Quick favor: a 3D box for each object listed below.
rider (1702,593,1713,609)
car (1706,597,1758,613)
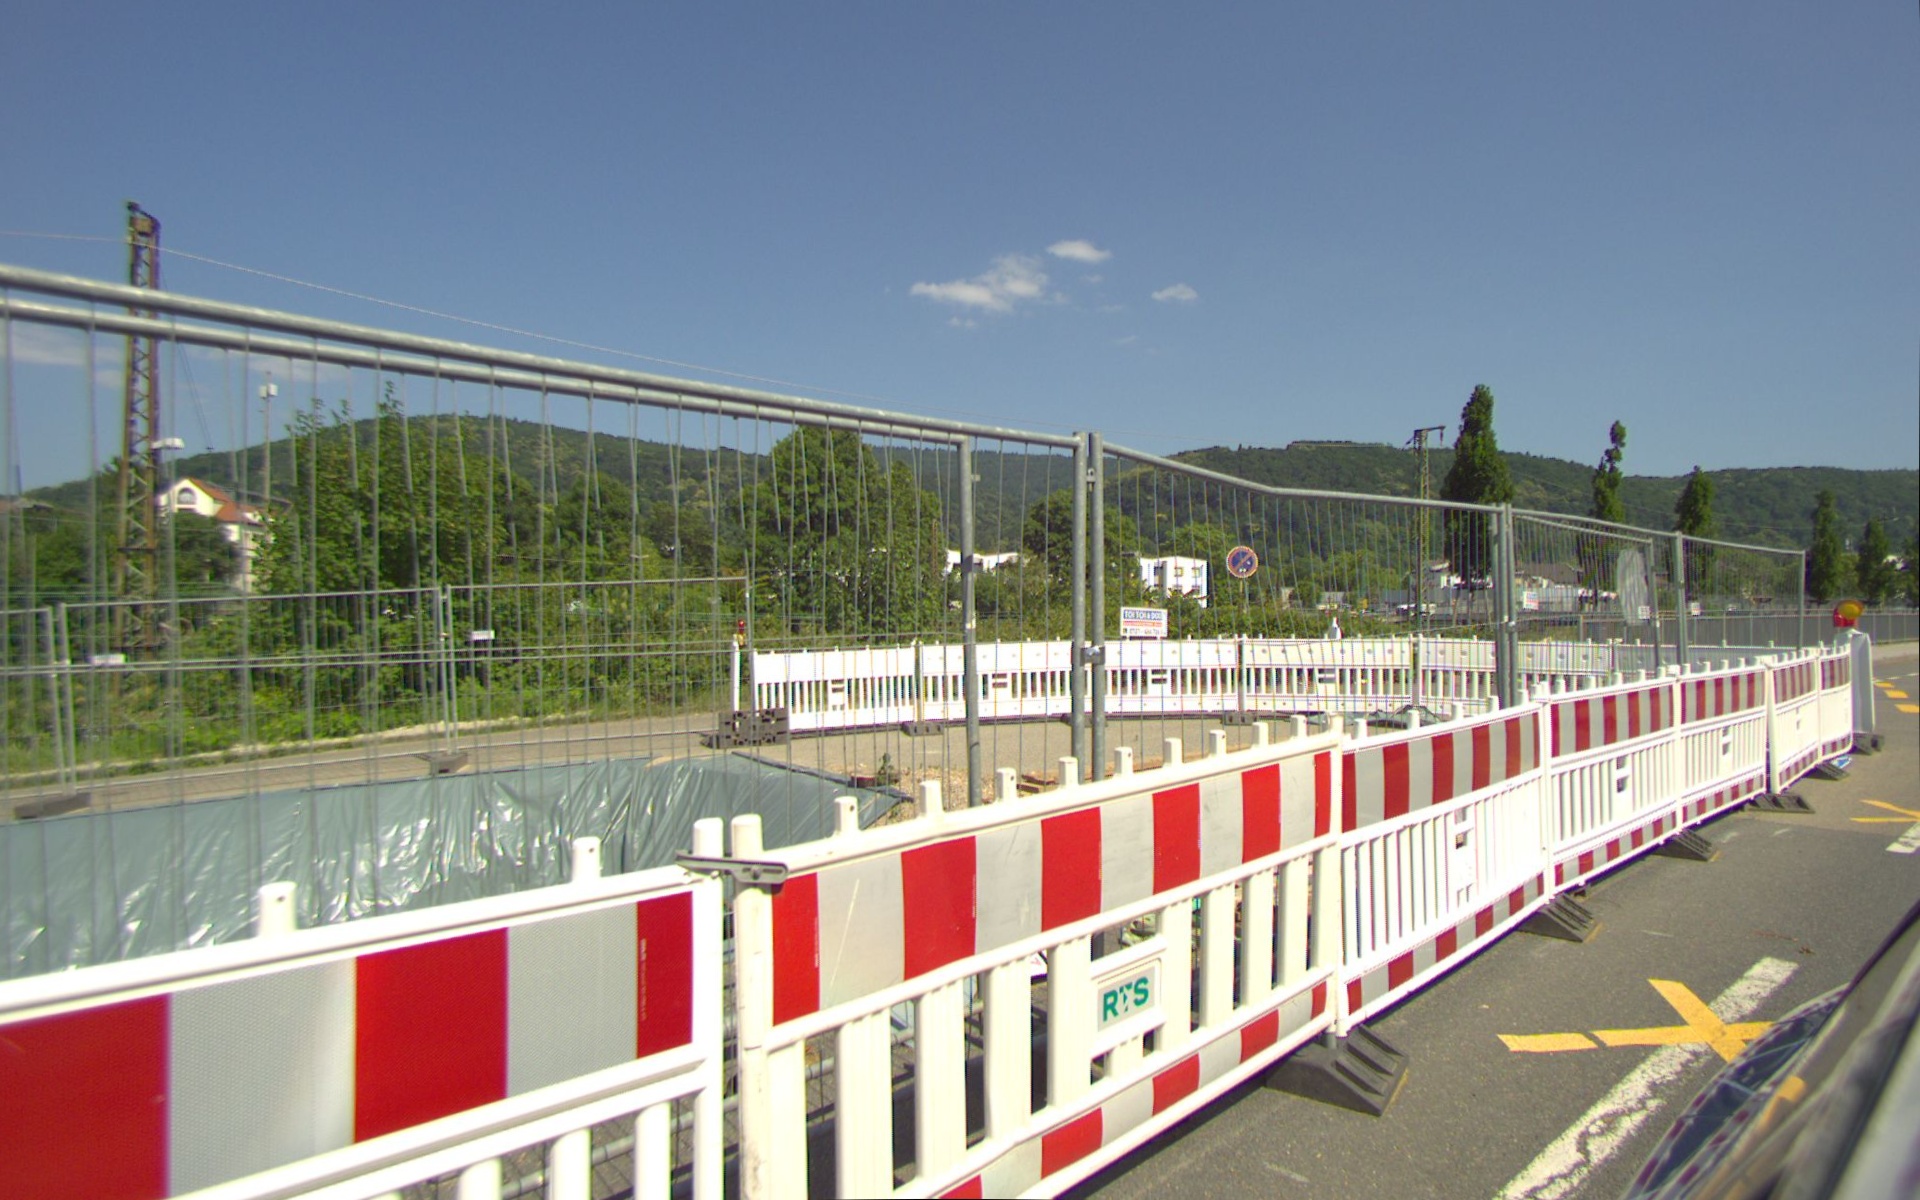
[{"bbox_3d":[85.814,0.140,116.190,0.537,1.836,0.687,-3,0,-10],"label":"rider"},{"bbox_3d":[83.961,0.573,110.187,1.794,1.647,4.377,-3,0,-10],"label":"car"}]
